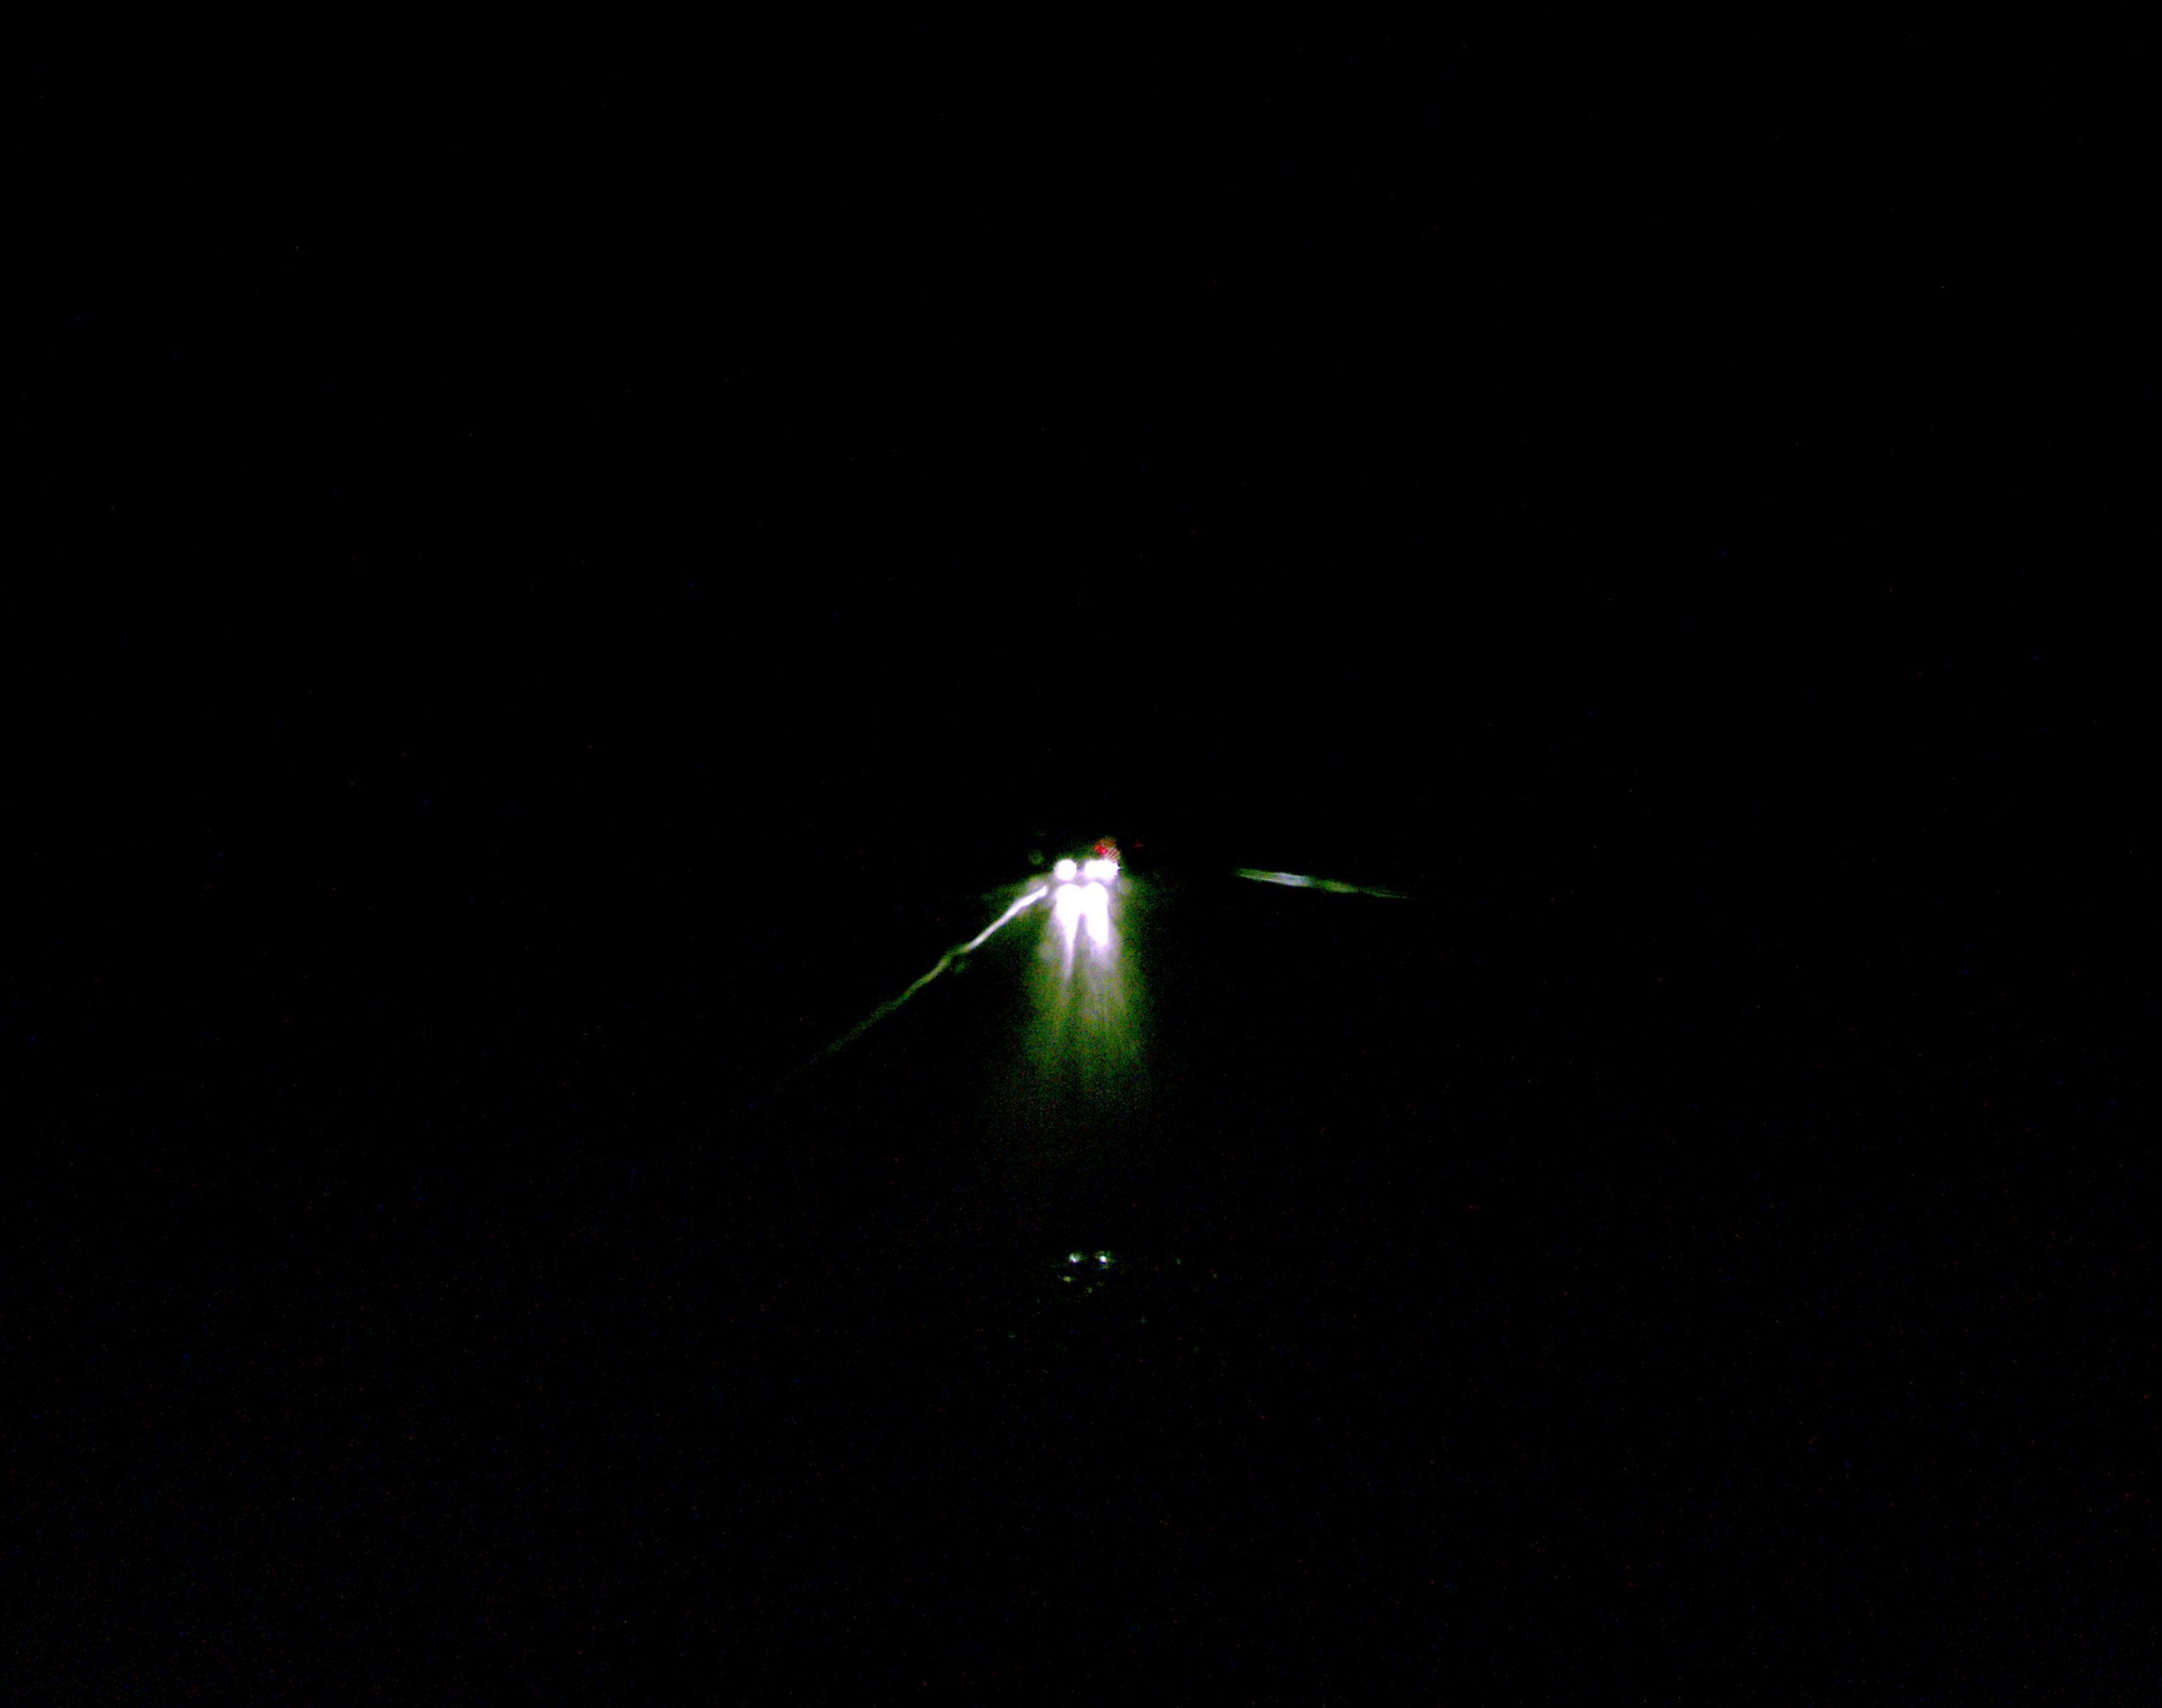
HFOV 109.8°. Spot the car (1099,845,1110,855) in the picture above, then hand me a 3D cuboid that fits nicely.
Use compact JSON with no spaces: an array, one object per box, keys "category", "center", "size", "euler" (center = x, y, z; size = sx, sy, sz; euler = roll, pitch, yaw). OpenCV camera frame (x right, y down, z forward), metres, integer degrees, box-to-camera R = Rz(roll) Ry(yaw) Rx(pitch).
[{"category":"car","center":[4.729,-0.838,152.899],"size":[2.011,2.002,4.327],"euler":[0,0,1]}]

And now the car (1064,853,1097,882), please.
[{"category":"car","center":[0.005,0.762,44.319],"size":[1.744,1.502,3.599],"euler":[-2,2,2]}]

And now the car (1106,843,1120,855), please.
[{"category":"car","center":[4.599,-0.769,108.467],"size":[1.744,1.632,3.599],"euler":[-2,2,0]}]
